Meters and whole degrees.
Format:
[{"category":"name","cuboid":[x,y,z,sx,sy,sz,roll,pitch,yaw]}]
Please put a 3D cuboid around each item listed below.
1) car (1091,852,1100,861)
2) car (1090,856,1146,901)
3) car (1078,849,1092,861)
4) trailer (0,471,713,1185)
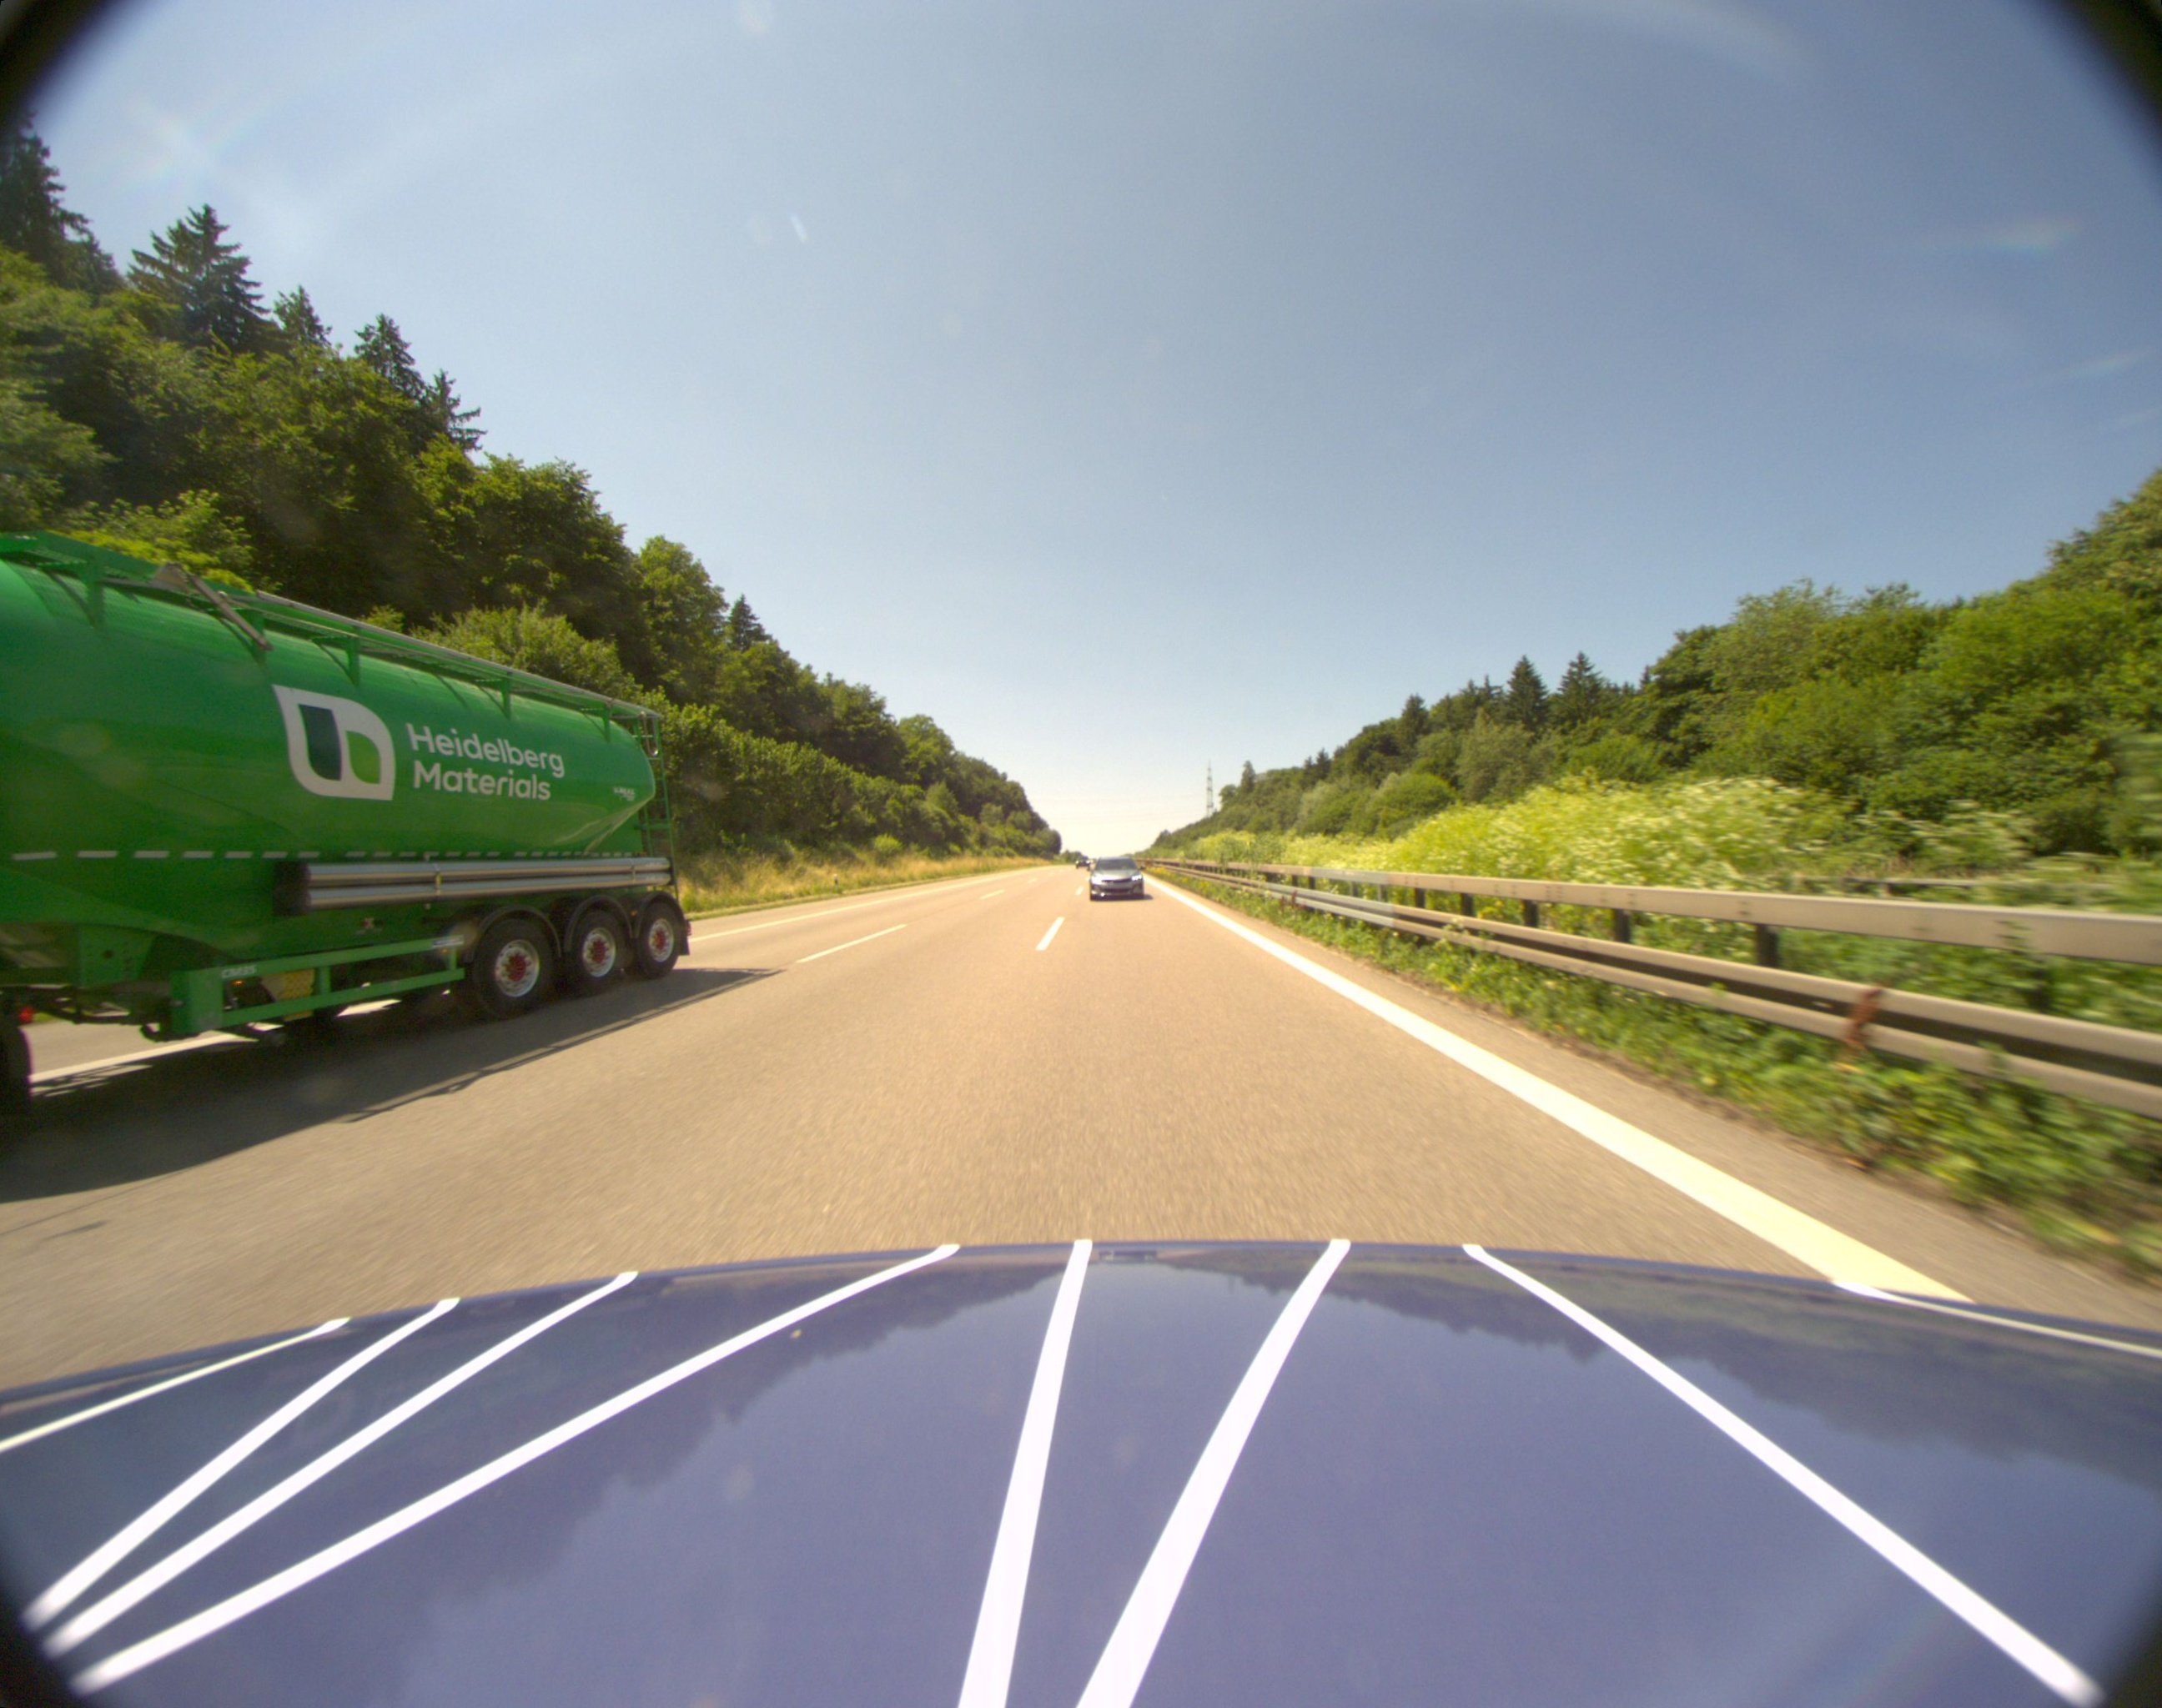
[{"category":"car","cuboid":[3.578,0.580,189.141,1.999,2.002,4.000,-2,0,-1]},{"category":"car","cuboid":[1.295,0.802,26.547,1.768,1.400,4.000,-2,0,3]},{"category":"car","cuboid":[0.577,0.121,105.421,1.788,1.550,3.943,-2,0,0]},{"category":"trailer","cuboid":[-7.263,-0.114,6.556,2.593,4.004,10.471,-2,0,2]}]
